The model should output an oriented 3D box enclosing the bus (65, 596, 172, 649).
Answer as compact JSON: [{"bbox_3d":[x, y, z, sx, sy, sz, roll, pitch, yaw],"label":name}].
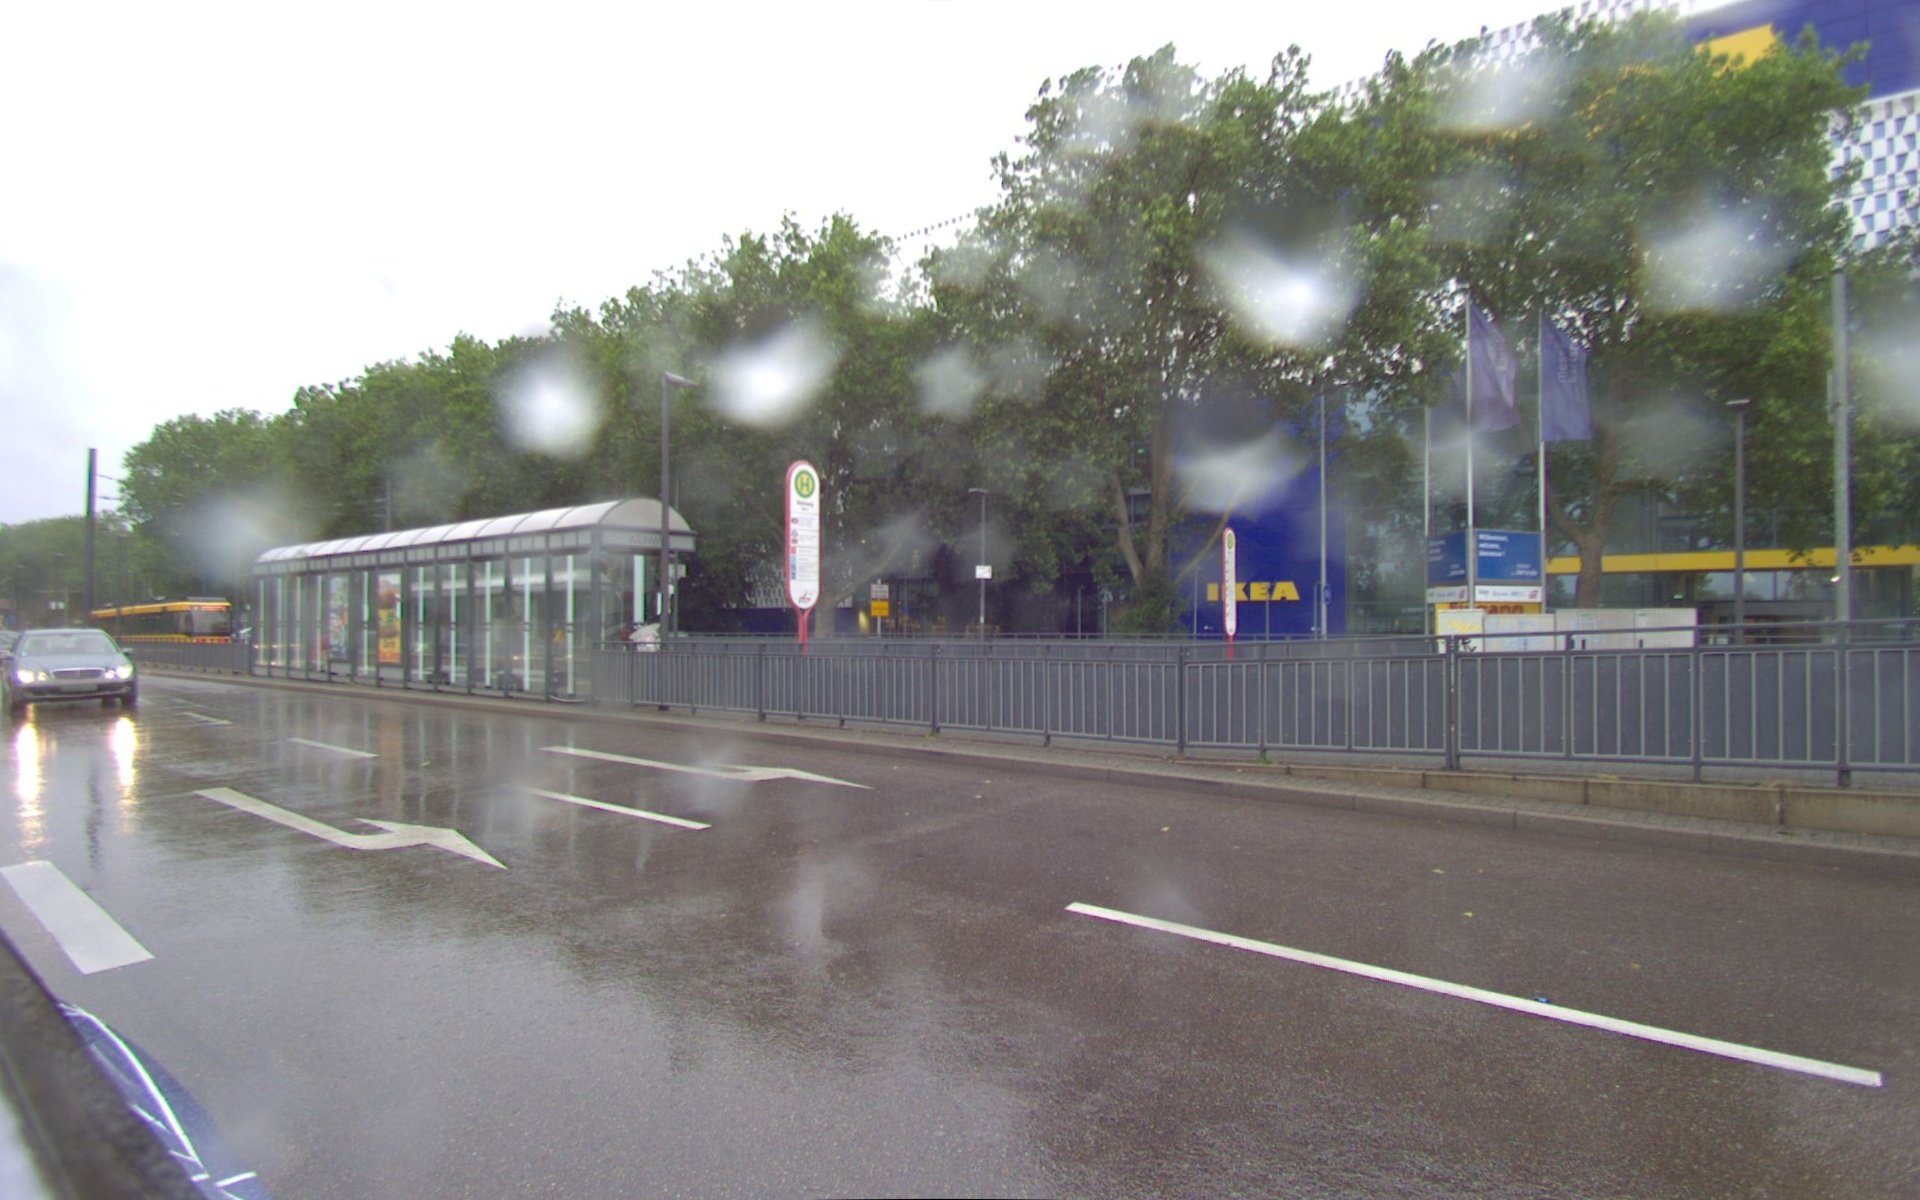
[{"bbox_3d":[-58.600,1.498,70.232,15.047,3.354,2.902,-1,0,39],"label":"bus"}]

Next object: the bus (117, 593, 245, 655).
[{"bbox_3d":[-46.887,1.373,60.582,15.050,3.354,2.902,-1,0,40],"label":"bus"}]

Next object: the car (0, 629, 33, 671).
[{"bbox_3d":[-38.146,1.965,40.080,4.596,1.512,1.752,-1,0,43],"label":"car"}]

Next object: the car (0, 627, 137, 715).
[{"bbox_3d":[-17.271,1.261,19.349,4.645,1.409,1.743,-1,0,43],"label":"car"}]
